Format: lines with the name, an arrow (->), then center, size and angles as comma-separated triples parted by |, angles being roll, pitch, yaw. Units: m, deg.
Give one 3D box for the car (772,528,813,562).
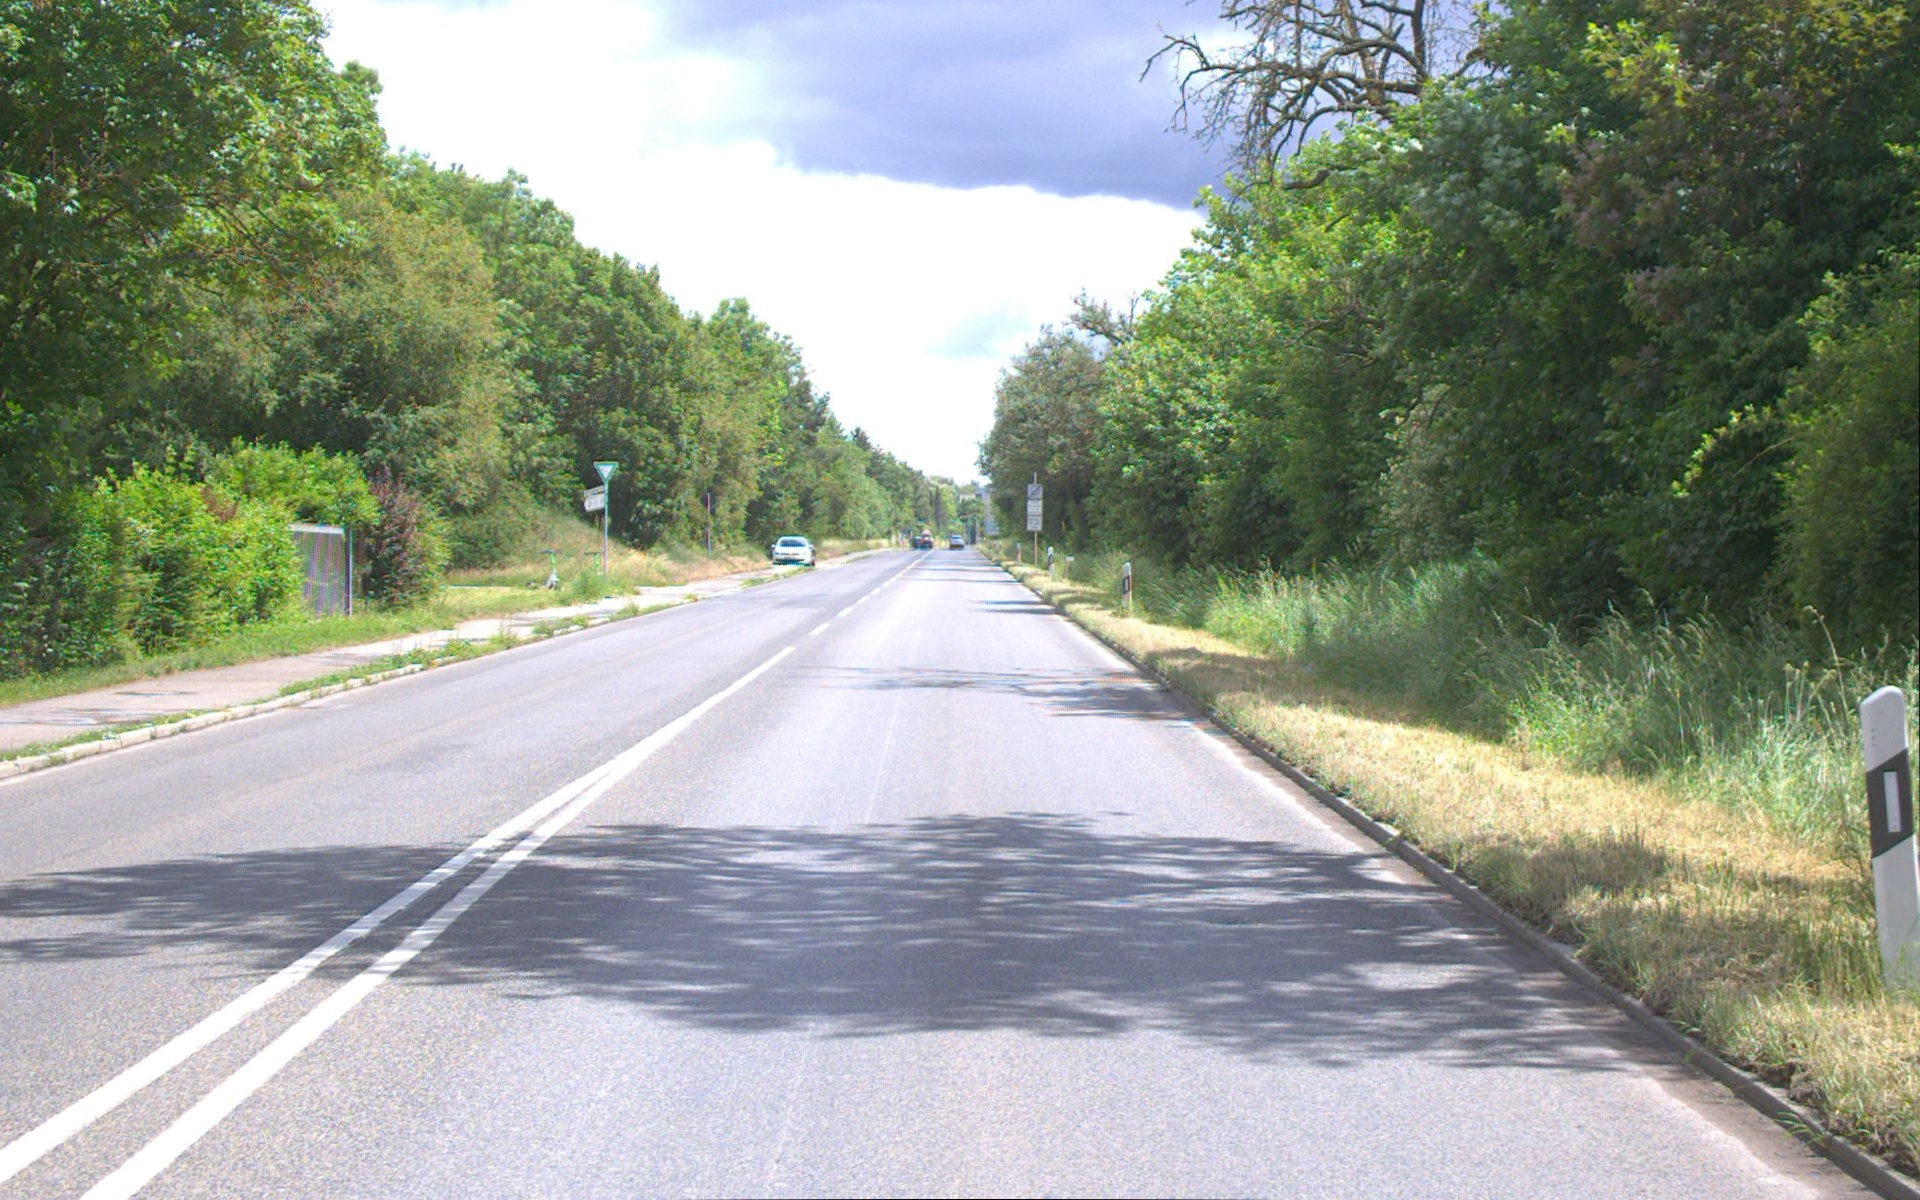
car -> -8.213, -2.686, 168.464 | 1.798, 1.538, 3.955 | 0, 0, 0
